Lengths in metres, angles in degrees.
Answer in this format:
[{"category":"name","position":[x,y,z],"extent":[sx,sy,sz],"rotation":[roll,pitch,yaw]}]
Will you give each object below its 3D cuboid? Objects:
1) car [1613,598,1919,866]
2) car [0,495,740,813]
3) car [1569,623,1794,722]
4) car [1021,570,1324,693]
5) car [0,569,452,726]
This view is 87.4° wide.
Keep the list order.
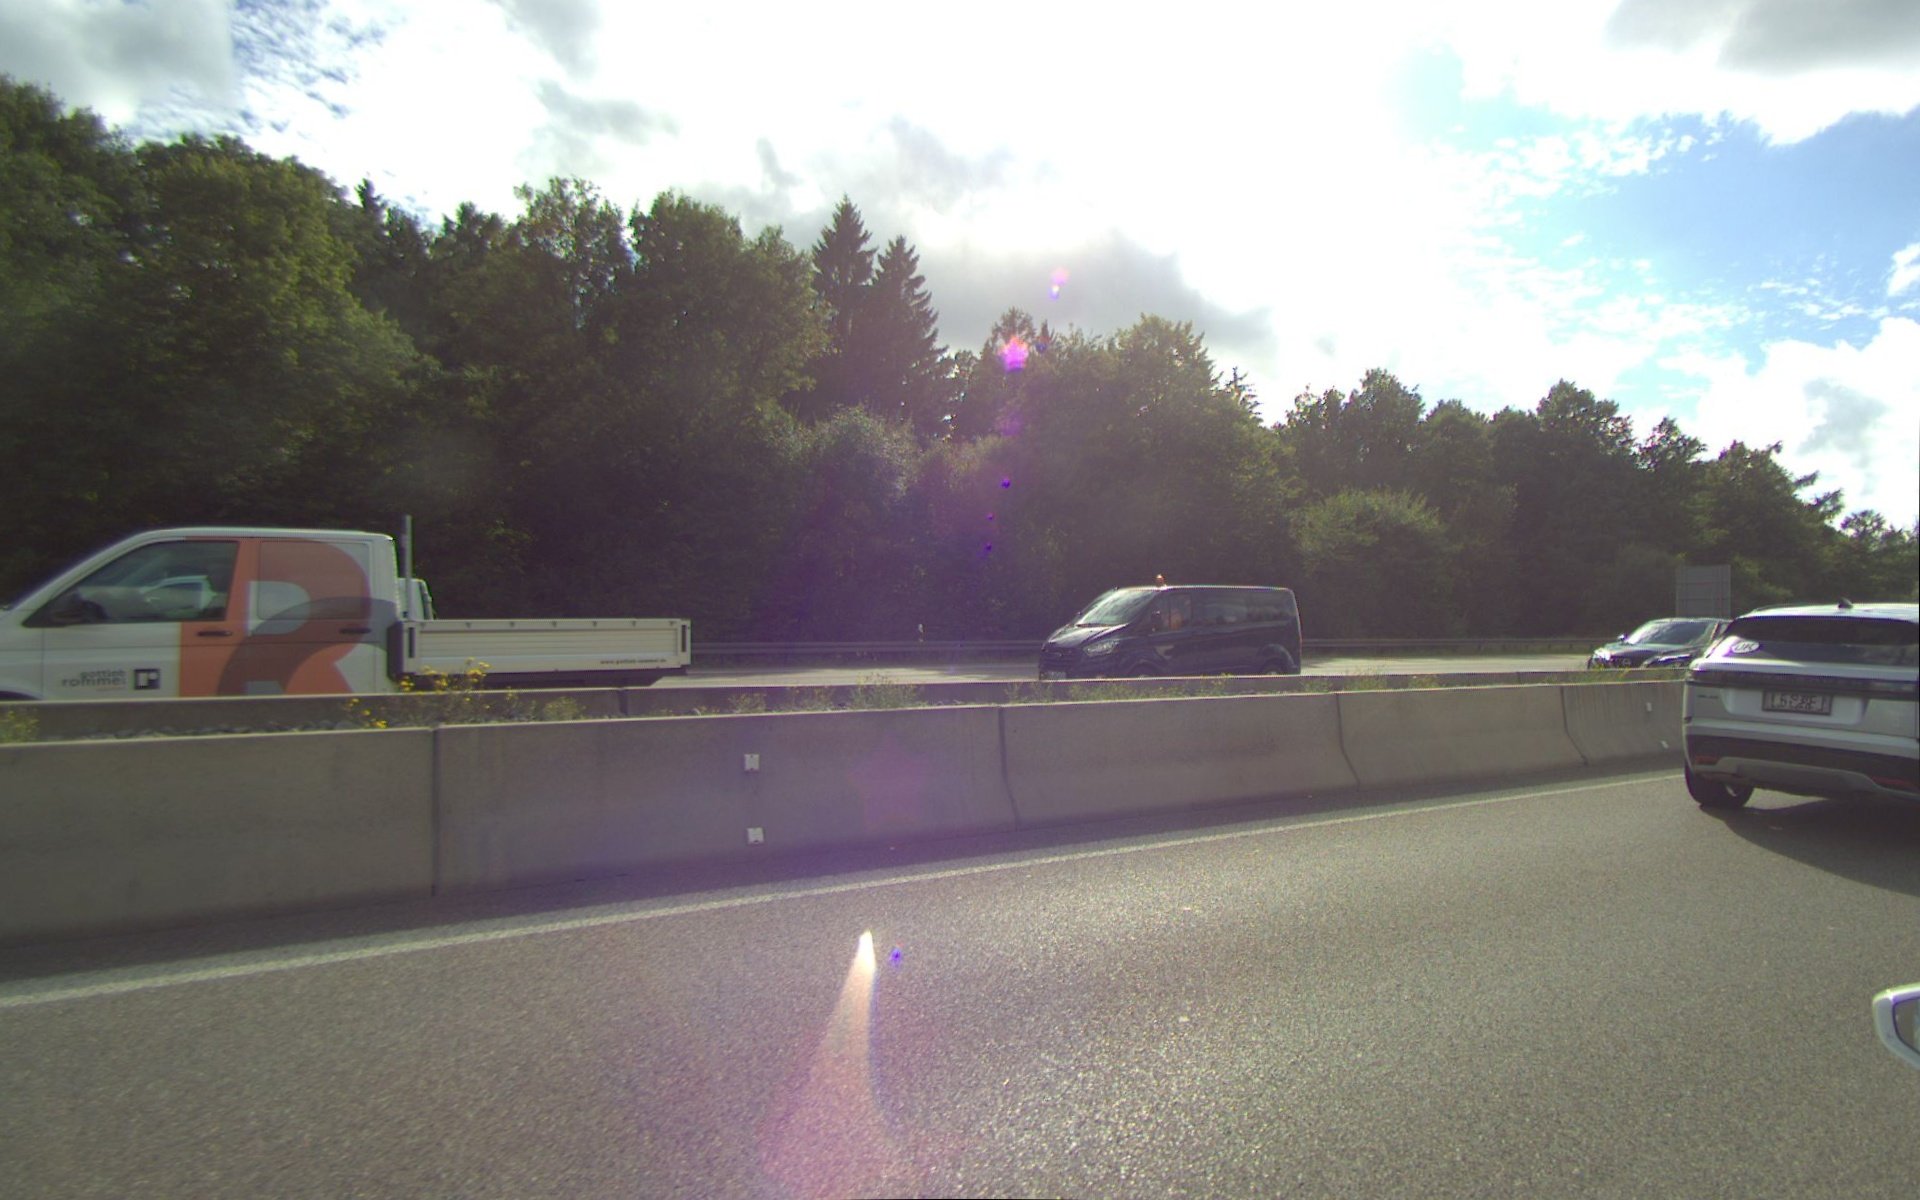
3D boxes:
[{"category":"car","position":[7.803,0.863,8.209],"extent":[5.239,1.638,1.996],"rotation":[1,0,-30]},{"category":"car","position":[-4.958,0.407,8.369],"extent":[5.752,2.040,2.149],"rotation":[1,-2,-30]},{"category":"car","position":[13.598,1.287,18.898],"extent":[4.192,1.662,1.904],"rotation":[1,-2,-30]},{"category":"car","position":[3.693,0.536,17.129],"extent":[5.065,1.829,1.984],"rotation":[1,-2,-30]},{"category":"car","position":[-10.098,0.629,14.012],"extent":[5.279,1.876,1.941],"rotation":[1,-2,-30]}]
